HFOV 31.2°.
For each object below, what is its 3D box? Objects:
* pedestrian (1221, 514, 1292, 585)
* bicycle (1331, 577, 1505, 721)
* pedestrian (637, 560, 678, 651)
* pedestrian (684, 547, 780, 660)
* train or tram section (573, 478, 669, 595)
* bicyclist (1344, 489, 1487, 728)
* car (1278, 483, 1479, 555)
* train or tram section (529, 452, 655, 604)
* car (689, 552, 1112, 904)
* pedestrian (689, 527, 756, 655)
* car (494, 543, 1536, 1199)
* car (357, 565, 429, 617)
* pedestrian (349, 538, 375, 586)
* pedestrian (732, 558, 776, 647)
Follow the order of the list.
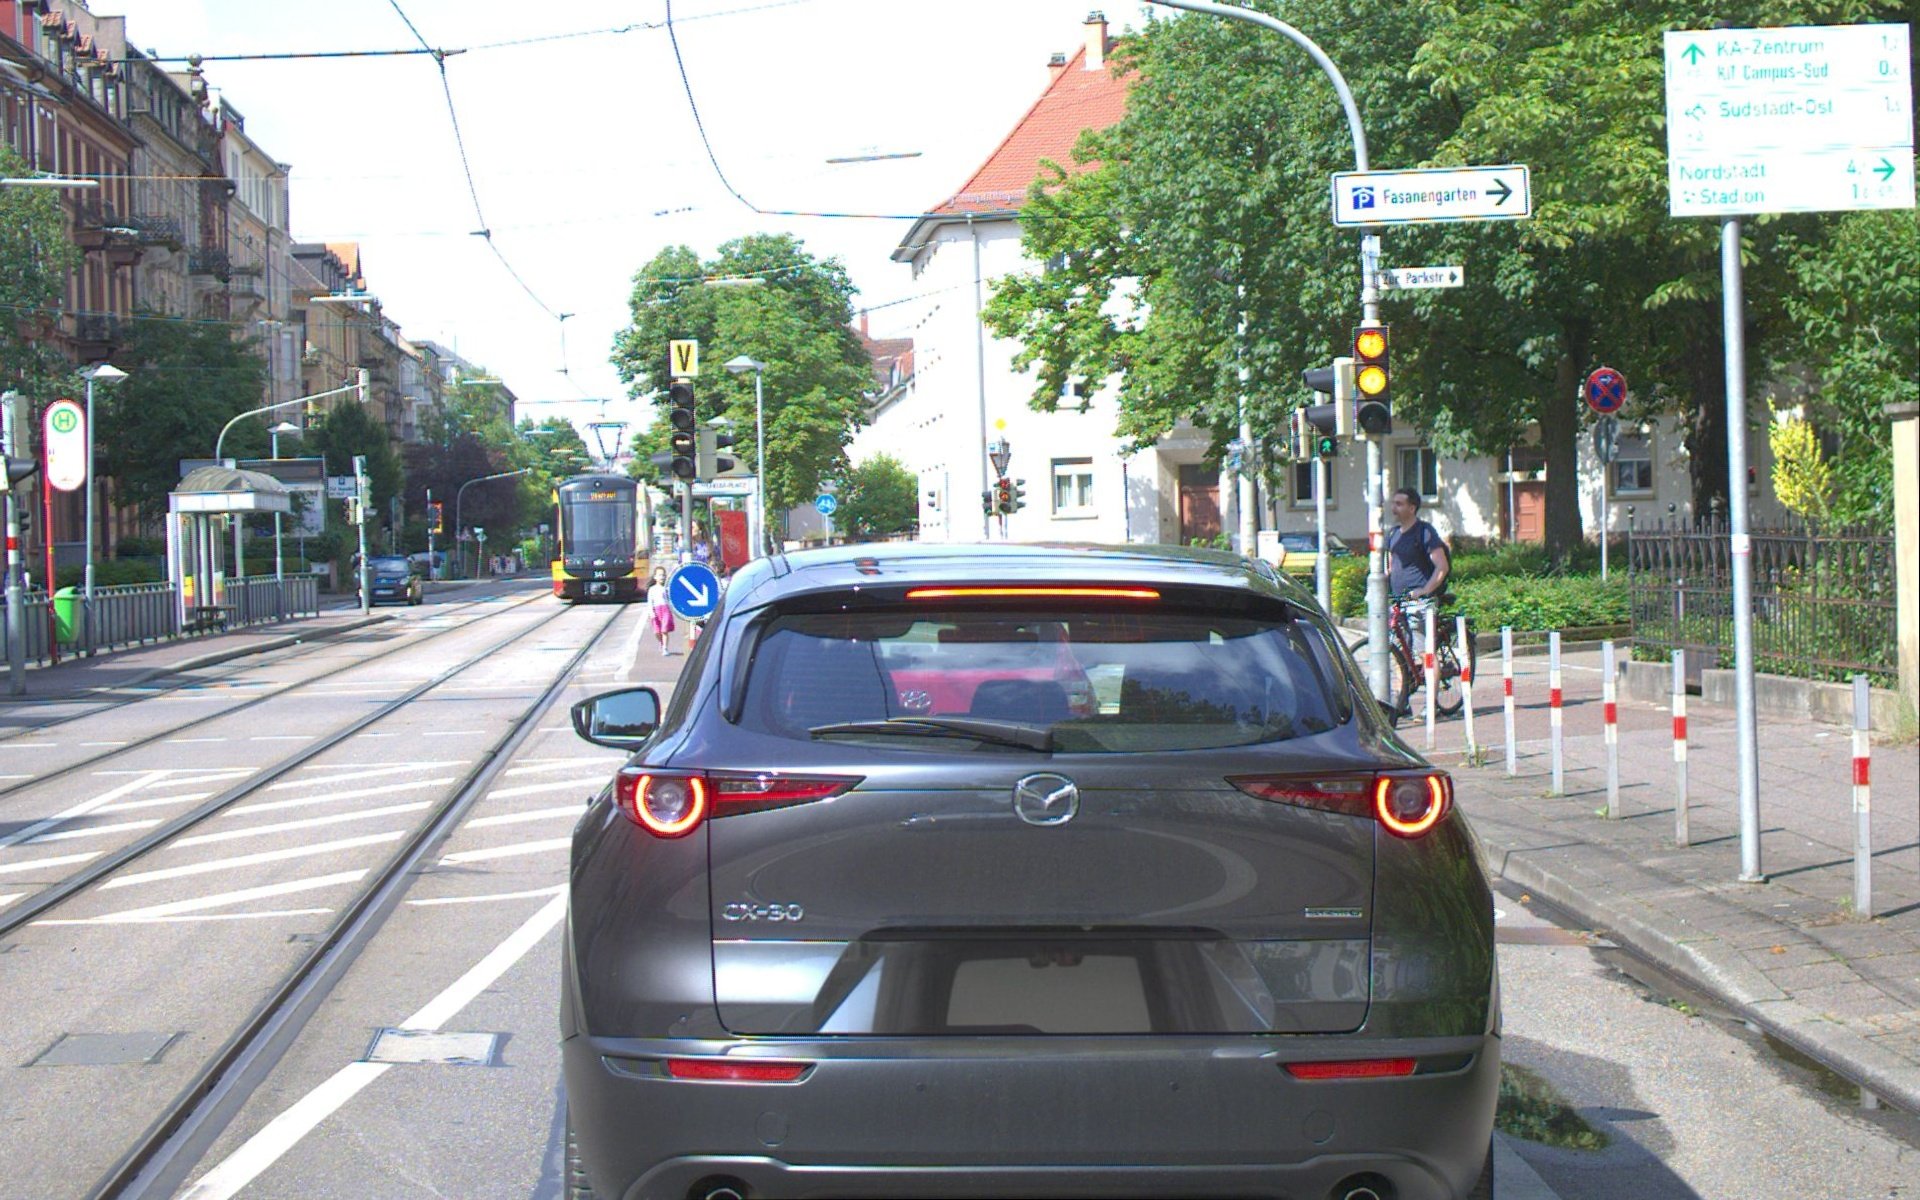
[{"bbox_3d":[5.671,-0.967,65.826,1.192,1.264,0.558,-4,1,-9],"label":"pedestrian"},{"bbox_3d":[3.608,0.368,26.960,0.389,1.032,1.841,-1,2,40],"label":"bicycle"},{"bbox_3d":[-3.787,0.064,42.996,0.422,1.104,0.439,-4,1,-2],"label":"pedestrian"},{"bbox_3d":[-2.759,0.037,41.666,0.826,1.299,0.716,-3,1,27],"label":"pedestrian"},{"bbox_3d":[-12.288,-2.225,125.682,2.997,3.970,13.811,-2,0,-4],"label":"train or tram section"},{"bbox_3d":[3.551,0.058,26.849,0.733,1.813,0.820,-2,1,-27],"label":"bicyclist"},{"bbox_3d":[9.569,-1.849,78.691,4.167,1.504,1.848,0,3,38],"label":"car"},{"bbox_3d":[-10.376,-1.927,98.168,2.997,3.970,13.811,-2,0,-4],"label":"train or tram section"},{"bbox_3d":[-0.356,0.514,16.389,1.775,1.459,3.843,0,1,-3],"label":"car"},{"bbox_3d":[-2.958,-0.114,42.809,0.728,1.560,0.799,-2,1,-9],"label":"pedestrian"},{"bbox_3d":[0.082,0.645,7.927,1.782,1.509,4.000,1,1,0],"label":"car"},{"bbox_3d":[-16.653,-0.268,101.100,1.624,1.382,3.436,-3,1,-2],"label":"car"},{"bbox_3d":[-21.255,-1.353,122.285,0.788,1.682,0.732,-1,1,-3],"label":"pedestrian"},{"bbox_3d":[-2.598,0.027,43.441,0.442,1.110,0.643,-1,1,4],"label":"pedestrian"}]
